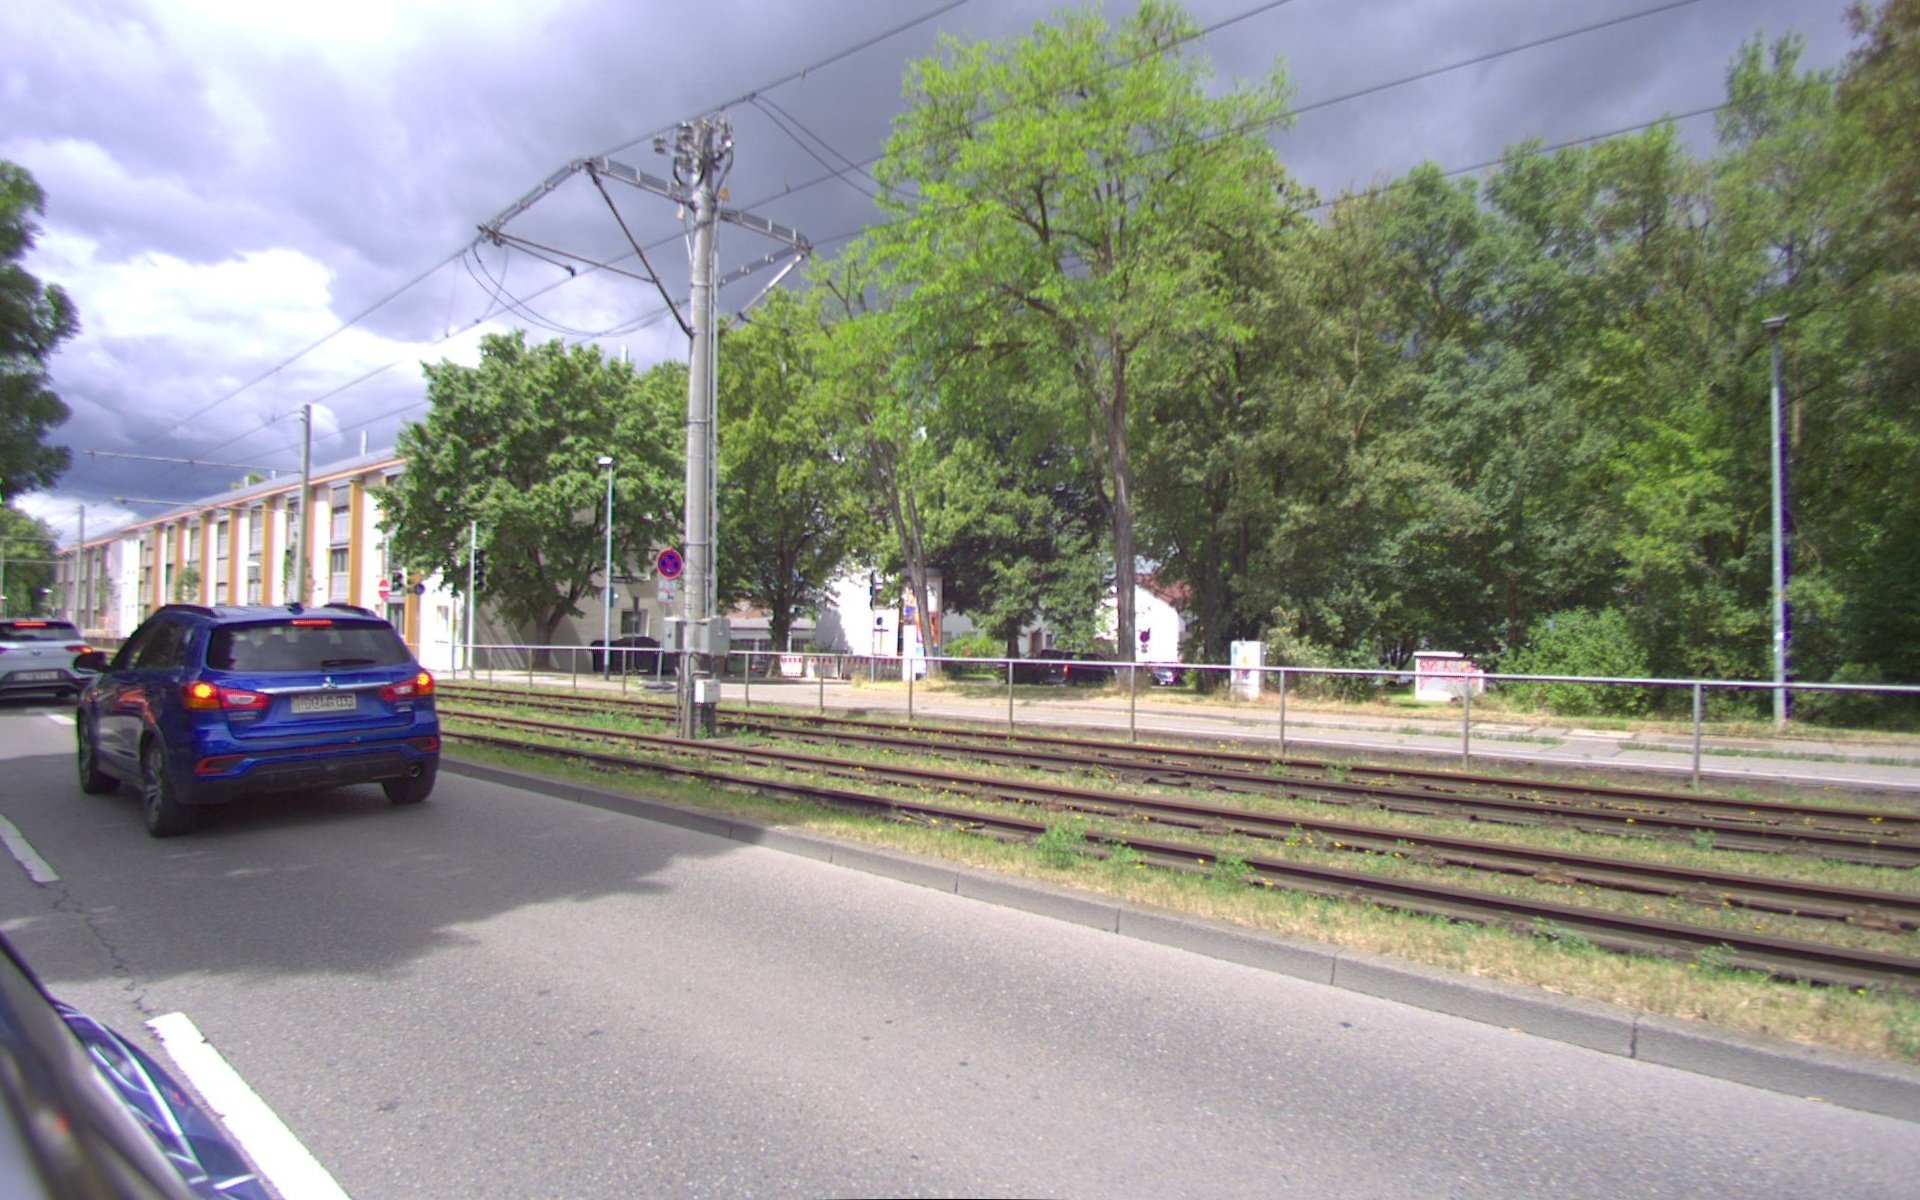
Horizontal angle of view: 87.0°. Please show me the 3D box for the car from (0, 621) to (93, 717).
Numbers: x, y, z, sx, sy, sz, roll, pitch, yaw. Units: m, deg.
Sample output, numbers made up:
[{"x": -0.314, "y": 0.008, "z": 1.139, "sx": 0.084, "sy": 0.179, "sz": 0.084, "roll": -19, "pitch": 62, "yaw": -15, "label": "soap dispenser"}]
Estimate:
[{"x": -17.135, "y": 1.213, "z": 18.239, "sx": 3.997, "sy": 1.556, "sz": 1.699, "roll": -2, "pitch": -1, "yaw": 41, "label": "car"}]

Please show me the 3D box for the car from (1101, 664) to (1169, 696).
[{"x": 9.284, "y": 4.211, "z": 53.590, "sx": 1.852, "sy": 1.500, "sz": 3.946, "roll": -1, "pitch": -2, "yaw": 40, "label": "car"}]

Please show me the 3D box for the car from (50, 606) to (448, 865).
[{"x": -5.944, "y": 0.888, "z": 8.254, "sx": 4.164, "sy": 1.578, "sz": 1.695, "roll": -2, "pitch": -1, "yaw": 41, "label": "car"}]

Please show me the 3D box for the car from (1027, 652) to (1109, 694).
[{"x": 5.227, "y": 3.524, "z": 48.666, "sx": 2.000, "sy": 1.873, "sz": 3.944, "roll": -1, "pitch": -4, "yaw": 42, "label": "car"}]

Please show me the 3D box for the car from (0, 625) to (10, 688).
[{"x": -25.197, "y": 1.440, "z": 25.393, "sx": 3.272, "sy": 1.545, "sz": 1.620, "roll": -2, "pitch": -1, "yaw": 40, "label": "car"}]
